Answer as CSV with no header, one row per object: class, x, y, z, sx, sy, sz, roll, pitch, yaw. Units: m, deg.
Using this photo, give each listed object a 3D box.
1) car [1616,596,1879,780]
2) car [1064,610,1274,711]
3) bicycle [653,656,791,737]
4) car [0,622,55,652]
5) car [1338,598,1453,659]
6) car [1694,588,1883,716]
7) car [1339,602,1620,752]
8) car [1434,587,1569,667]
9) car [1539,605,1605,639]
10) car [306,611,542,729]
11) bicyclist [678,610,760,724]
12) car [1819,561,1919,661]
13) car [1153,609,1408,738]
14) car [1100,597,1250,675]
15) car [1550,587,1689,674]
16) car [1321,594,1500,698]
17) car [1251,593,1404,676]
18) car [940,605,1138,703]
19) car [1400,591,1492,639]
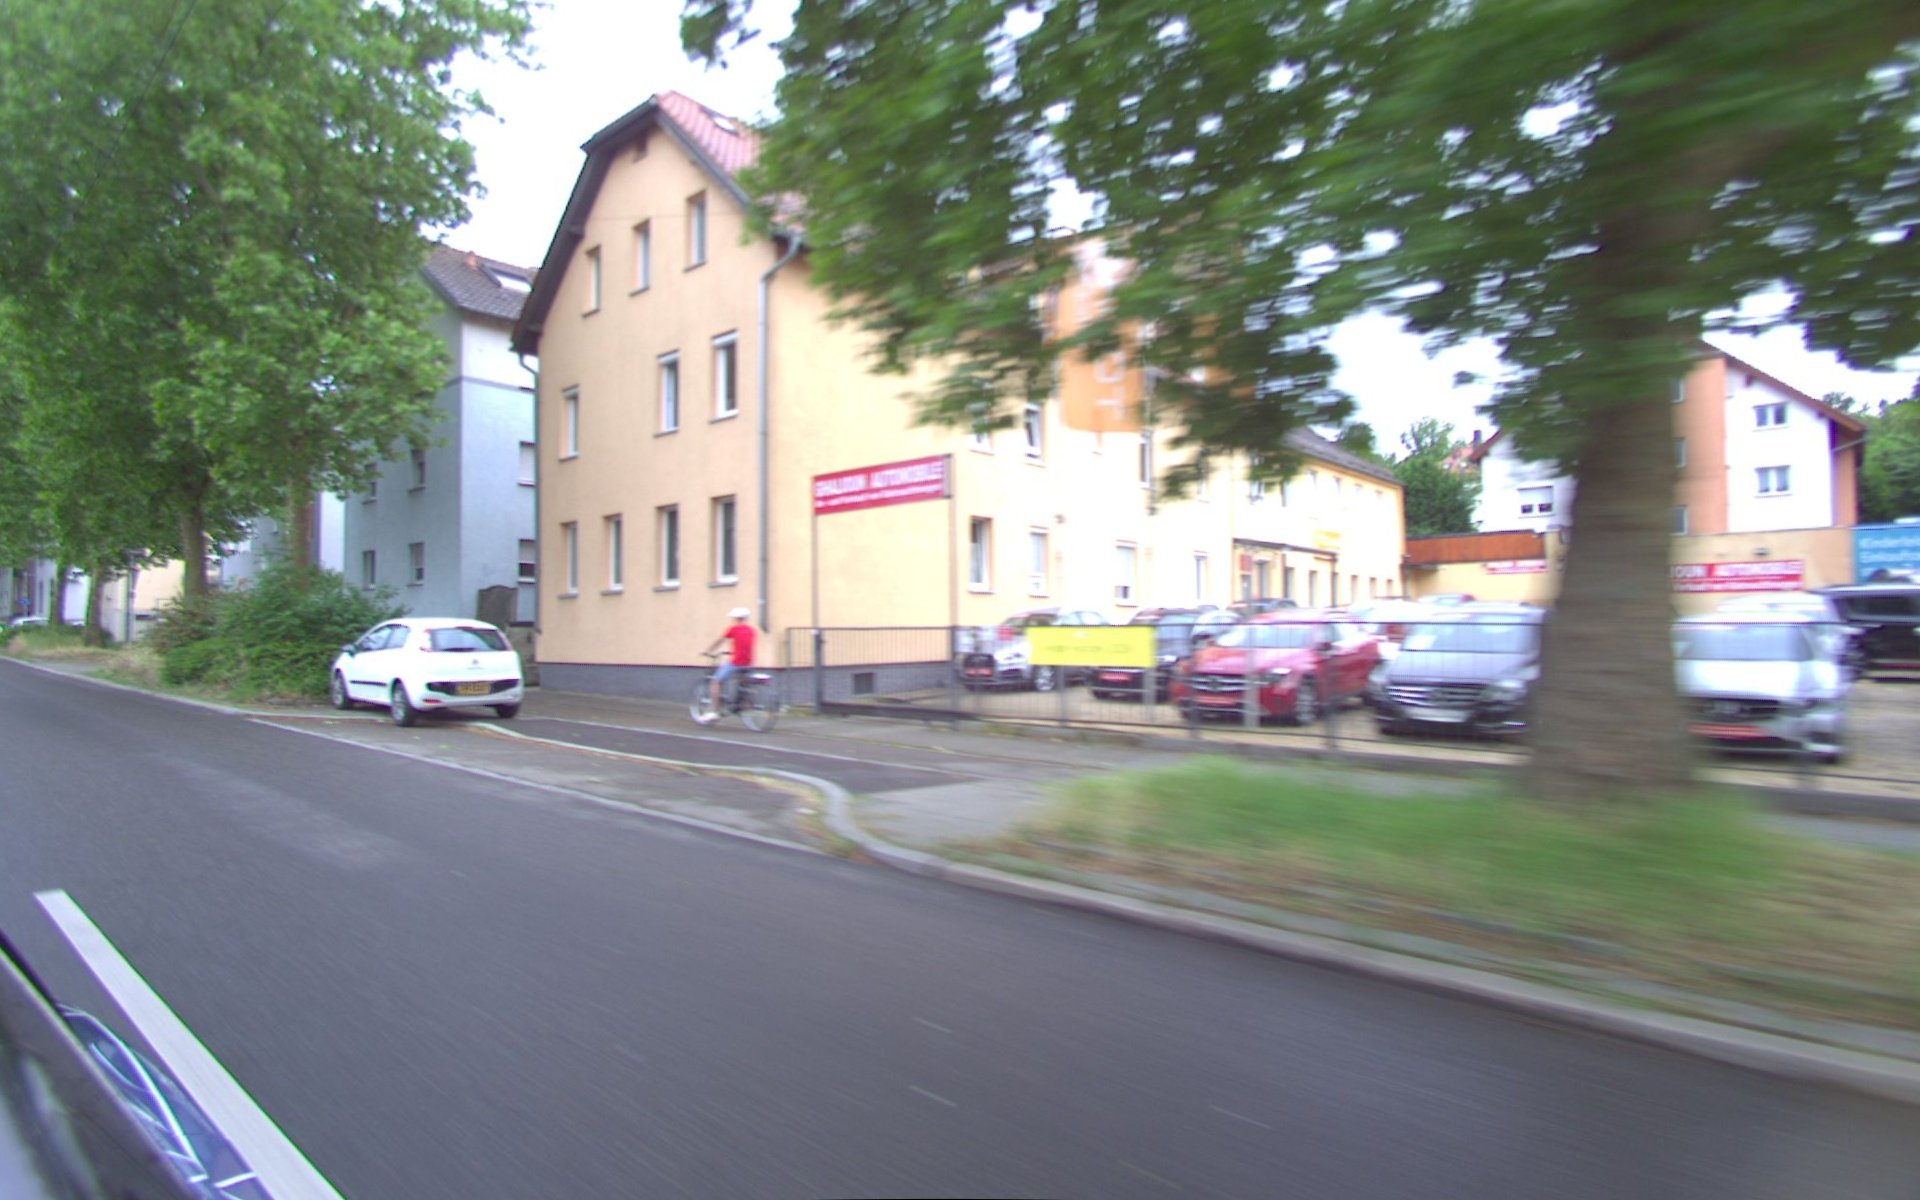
car,8.740,0.779,11.266,1.981,1.550,4.165,0,1,39
car,3.801,0.982,18.013,1.886,1.475,3.943,-1,0,43
bicycle,-3.471,1.361,14.641,2.259,1.003,0.550,0,1,33
car,-44.869,1.739,48.339,4.533,1.336,1.738,0,0,38
car,11.774,0.711,27.244,1.704,1.462,3.762,0,1,43
car,12.535,0.673,15.368,1.998,1.665,3.947,0,0,40
car,6.679,0.828,12.804,2.001,1.550,4.159,-2,-1,45
car,12.810,0.557,23.837,1.887,1.696,3.943,0,1,43
car,22.139,0.766,36.573,1.463,1.057,2.895,2,2,43
car,-8.357,0.987,15.611,4.349,1.563,1.767,-2,-2,41
bicyclist,-3.482,0.941,14.635,0.814,1.564,0.826,0,1,33
car,17.284,0.162,18.783,1.887,1.696,3.943,0,1,43
car,4.739,0.937,14.640,1.958,1.509,4.053,-1,0,43
car,5.142,0.792,23.958,1.736,1.626,3.807,-1,0,43
car,14.315,0.571,21.892,1.887,1.696,3.943,0,1,43
car,8.465,0.752,18.846,1.887,1.696,3.943,0,1,43
car,8.433,0.700,23.057,1.887,1.696,3.943,0,1,43
car,1.637,0.974,19.928,1.782,1.626,3.943,-1,0,43
car,14.710,0.405,30.553,1.584,1.363,3.388,0,1,43
